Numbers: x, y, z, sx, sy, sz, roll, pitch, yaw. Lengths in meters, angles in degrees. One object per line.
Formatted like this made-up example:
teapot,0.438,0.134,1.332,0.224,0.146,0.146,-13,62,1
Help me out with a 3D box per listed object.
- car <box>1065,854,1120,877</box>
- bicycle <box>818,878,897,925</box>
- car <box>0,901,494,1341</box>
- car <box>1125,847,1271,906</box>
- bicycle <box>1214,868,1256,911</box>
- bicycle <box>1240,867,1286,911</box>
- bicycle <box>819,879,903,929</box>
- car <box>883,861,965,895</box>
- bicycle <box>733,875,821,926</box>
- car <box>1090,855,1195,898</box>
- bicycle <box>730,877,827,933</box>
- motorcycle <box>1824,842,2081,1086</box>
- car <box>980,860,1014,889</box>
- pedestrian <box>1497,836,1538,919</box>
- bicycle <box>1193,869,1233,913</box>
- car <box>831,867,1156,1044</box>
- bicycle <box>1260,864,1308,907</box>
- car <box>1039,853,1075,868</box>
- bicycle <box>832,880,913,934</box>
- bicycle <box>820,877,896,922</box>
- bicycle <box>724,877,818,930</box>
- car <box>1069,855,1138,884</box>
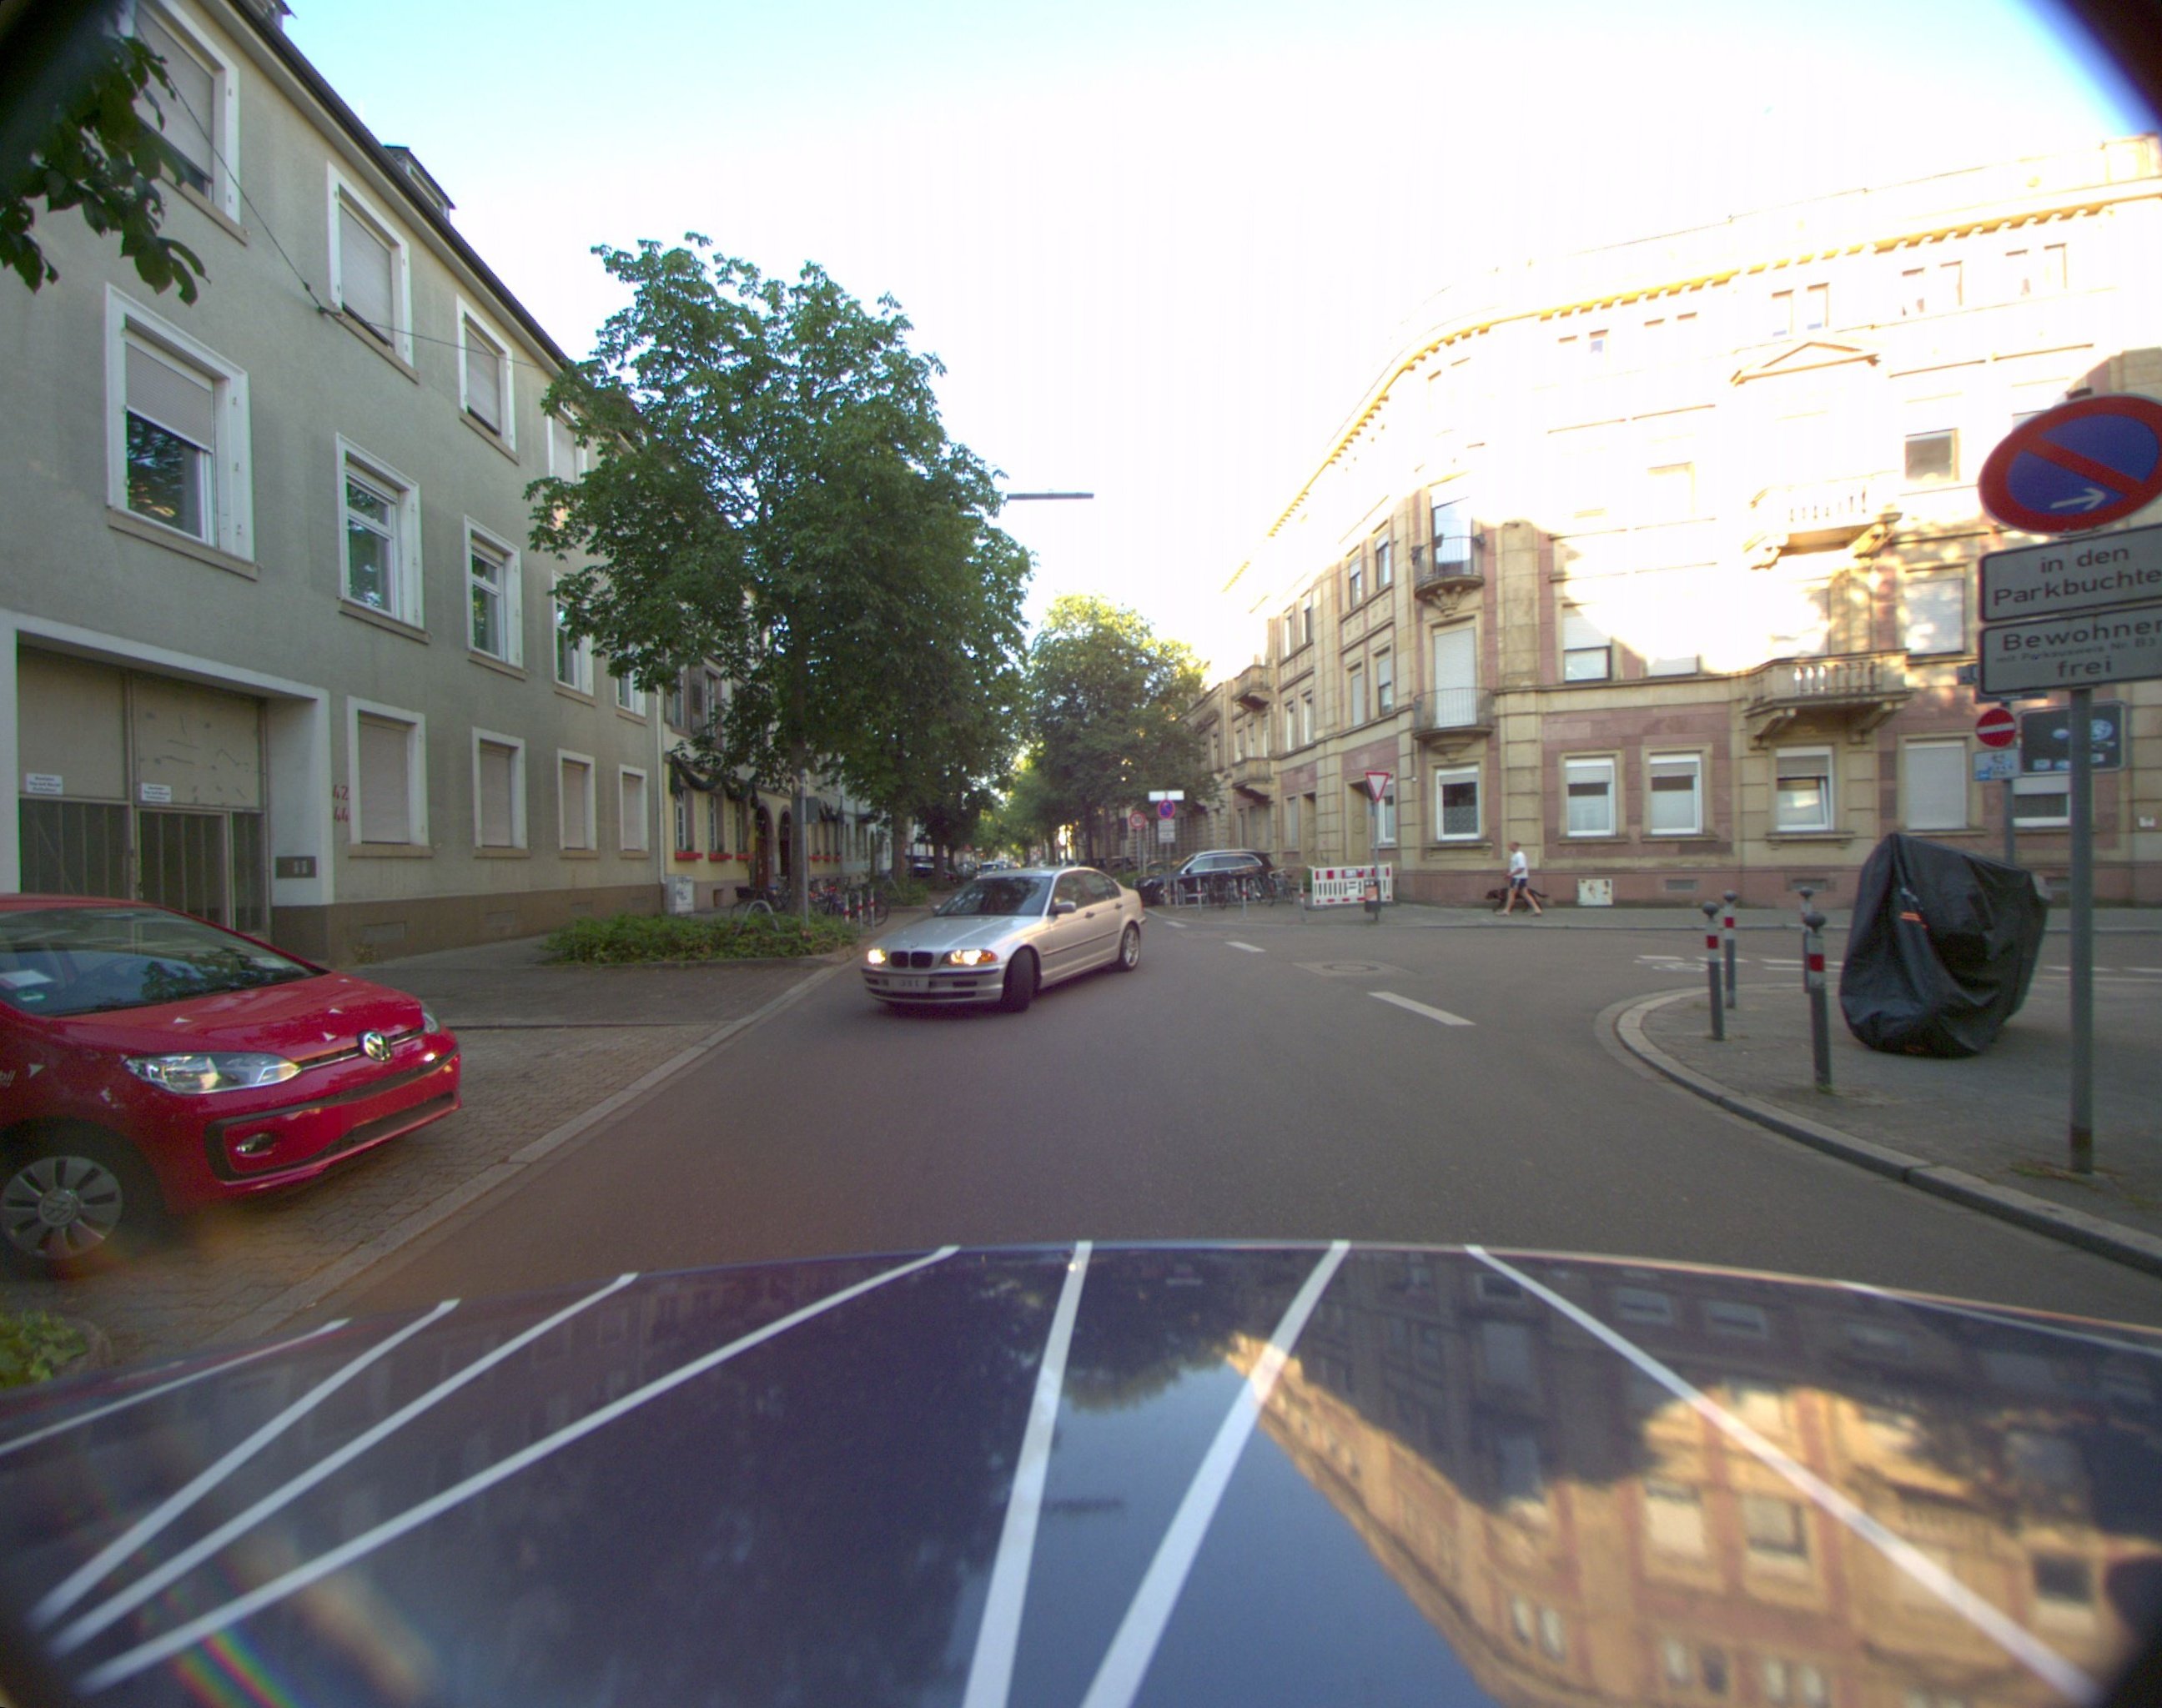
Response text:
car,0.862,0.885,60.847,4.245,1.749,1.741,-1,0,-5
bicycle,-6.126,1.289,20.914,2.029,1.220,0.535,-1,0,-11
car,-5.161,1.040,3.411,3.621,1.468,1.663,-1,0,-7
car,3.726,0.704,24.641,4.423,1.771,1.742,-1,0,-1
bicycle,4.384,0.987,21.724,0.562,1.144,2.038,-1,0,-6
bicycle,5.178,0.965,21.766,0.562,1.144,2.038,-1,0,-8
bicycle,-5.659,1.285,19.633,2.029,1.220,0.535,-1,0,-11
car,-8.555,1.285,41.665,4.245,1.729,1.741,-1,0,-6
bicycle,-7.813,1.183,19.592,2.029,1.220,0.535,-1,0,-13
car,2.531,0.926,32.083,4.243,1.668,1.742,-1,0,-1
bicycle,-7.032,1.173,17.744,2.030,1.220,0.535,-1,0,-16
motorcycle,6.499,0.678,5.633,2.286,1.496,0.816,-1,1,-30
car,-4.891,1.177,44.785,1.806,1.543,3.998,-1,0,-4
pedestrian,9.561,0.511,16.673,0.650,1.797,0.574,-1,1,18
bicycle,3.745,1.031,21.656,0.562,1.144,2.038,-1,0,-6
car,-0.684,0.942,9.006,1.708,1.433,4.443,-1,0,25
bicycle,5.796,0.885,21.816,0.562,1.144,2.038,-1,0,-8
car,-2.975,0.791,92.533,4.245,1.749,1.741,-1,0,-5
bicycle,-5.035,1.259,18.394,1.849,1.220,0.535,-1,0,-16
bicycle,-6.367,1.289,21.784,2.029,1.220,0.535,-1,0,-11
bicycle,-7.492,1.183,18.447,2.030,1.220,0.535,-1,0,-16
car,1.409,0.972,48.376,4.245,1.749,1.741,-1,0,-5
